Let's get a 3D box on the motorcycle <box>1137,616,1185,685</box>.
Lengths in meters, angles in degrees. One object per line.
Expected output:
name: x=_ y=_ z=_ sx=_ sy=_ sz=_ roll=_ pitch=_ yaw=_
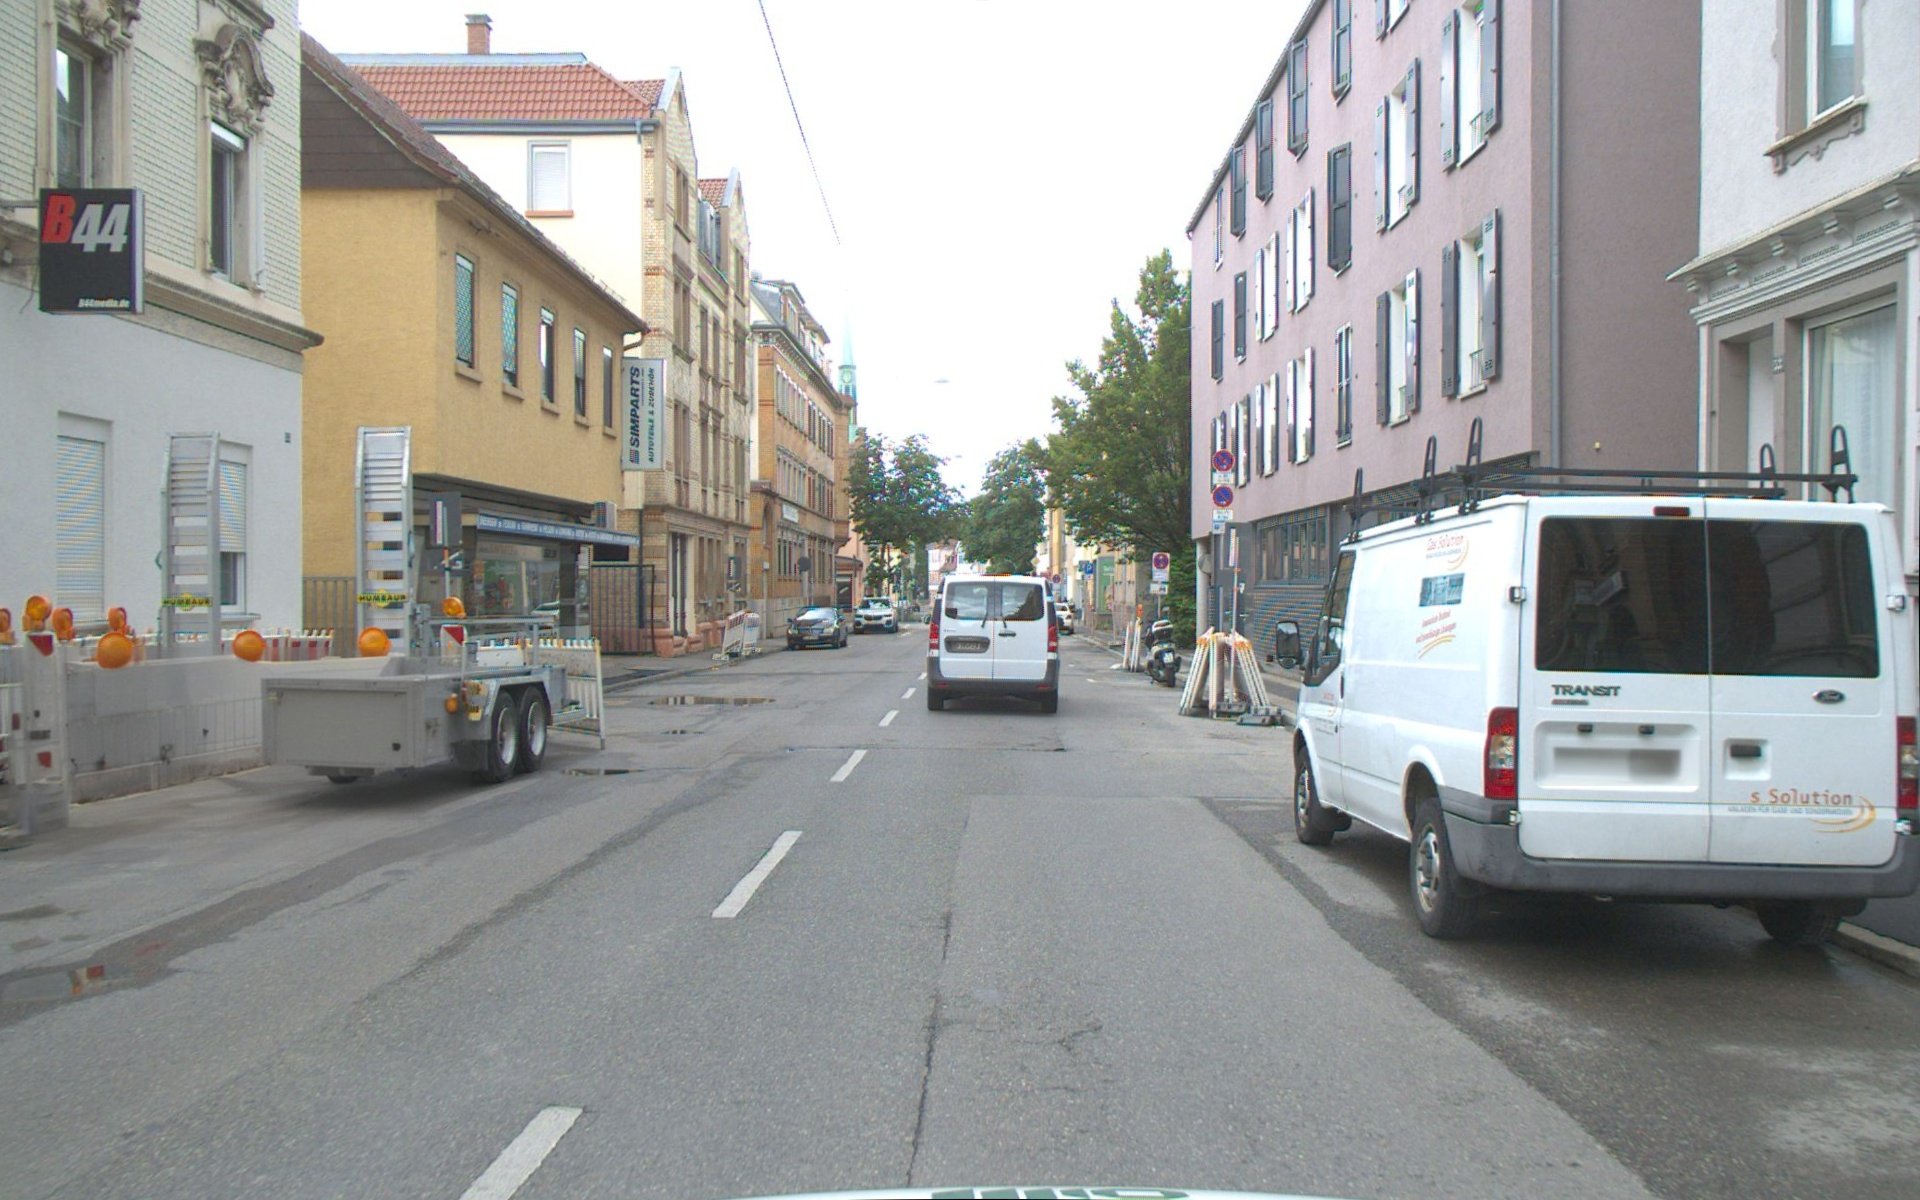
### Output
motorcycle: x=3.854 y=0.945 z=31.901 sx=0.630 sy=1.268 sz=2.267 roll=0 pitch=0 yaw=-1

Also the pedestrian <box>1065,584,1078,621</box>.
pedestrian: x=6.270 y=0.163 z=93.418 sx=0.610 sy=2.048 sz=0.907 roll=3 pitch=0 yaw=4

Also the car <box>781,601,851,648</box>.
car: x=-4.783 y=0.786 z=55.403 sx=1.953 sy=1.467 sz=4.000 roll=-1 pitch=0 yaw=0

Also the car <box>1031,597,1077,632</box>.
car: x=4.517 y=0.664 z=79.913 sx=1.953 sy=1.511 sz=4.000 roll=4 pitch=0 yaw=0

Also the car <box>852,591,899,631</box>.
car: x=-4.054 y=0.492 z=79.991 sx=1.953 sy=1.771 sz=4.000 roll=4 pitch=0 yaw=0

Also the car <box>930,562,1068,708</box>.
car: x=0.551 y=0.471 z=24.529 sx=1.852 sy=1.962 sz=4.645 roll=0 pitch=0 yaw=1

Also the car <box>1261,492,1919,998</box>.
car: x=3.218 y=0.596 z=9.311 sx=2.085 sy=2.040 sz=4.926 roll=2 pitch=0 yaw=0

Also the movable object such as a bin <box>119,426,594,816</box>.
movable object such as a bin: x=-5.048 y=0.145 z=14.733 sx=2.485 sy=2.874 sz=4.539 roll=-1 pitch=0 yaw=0
